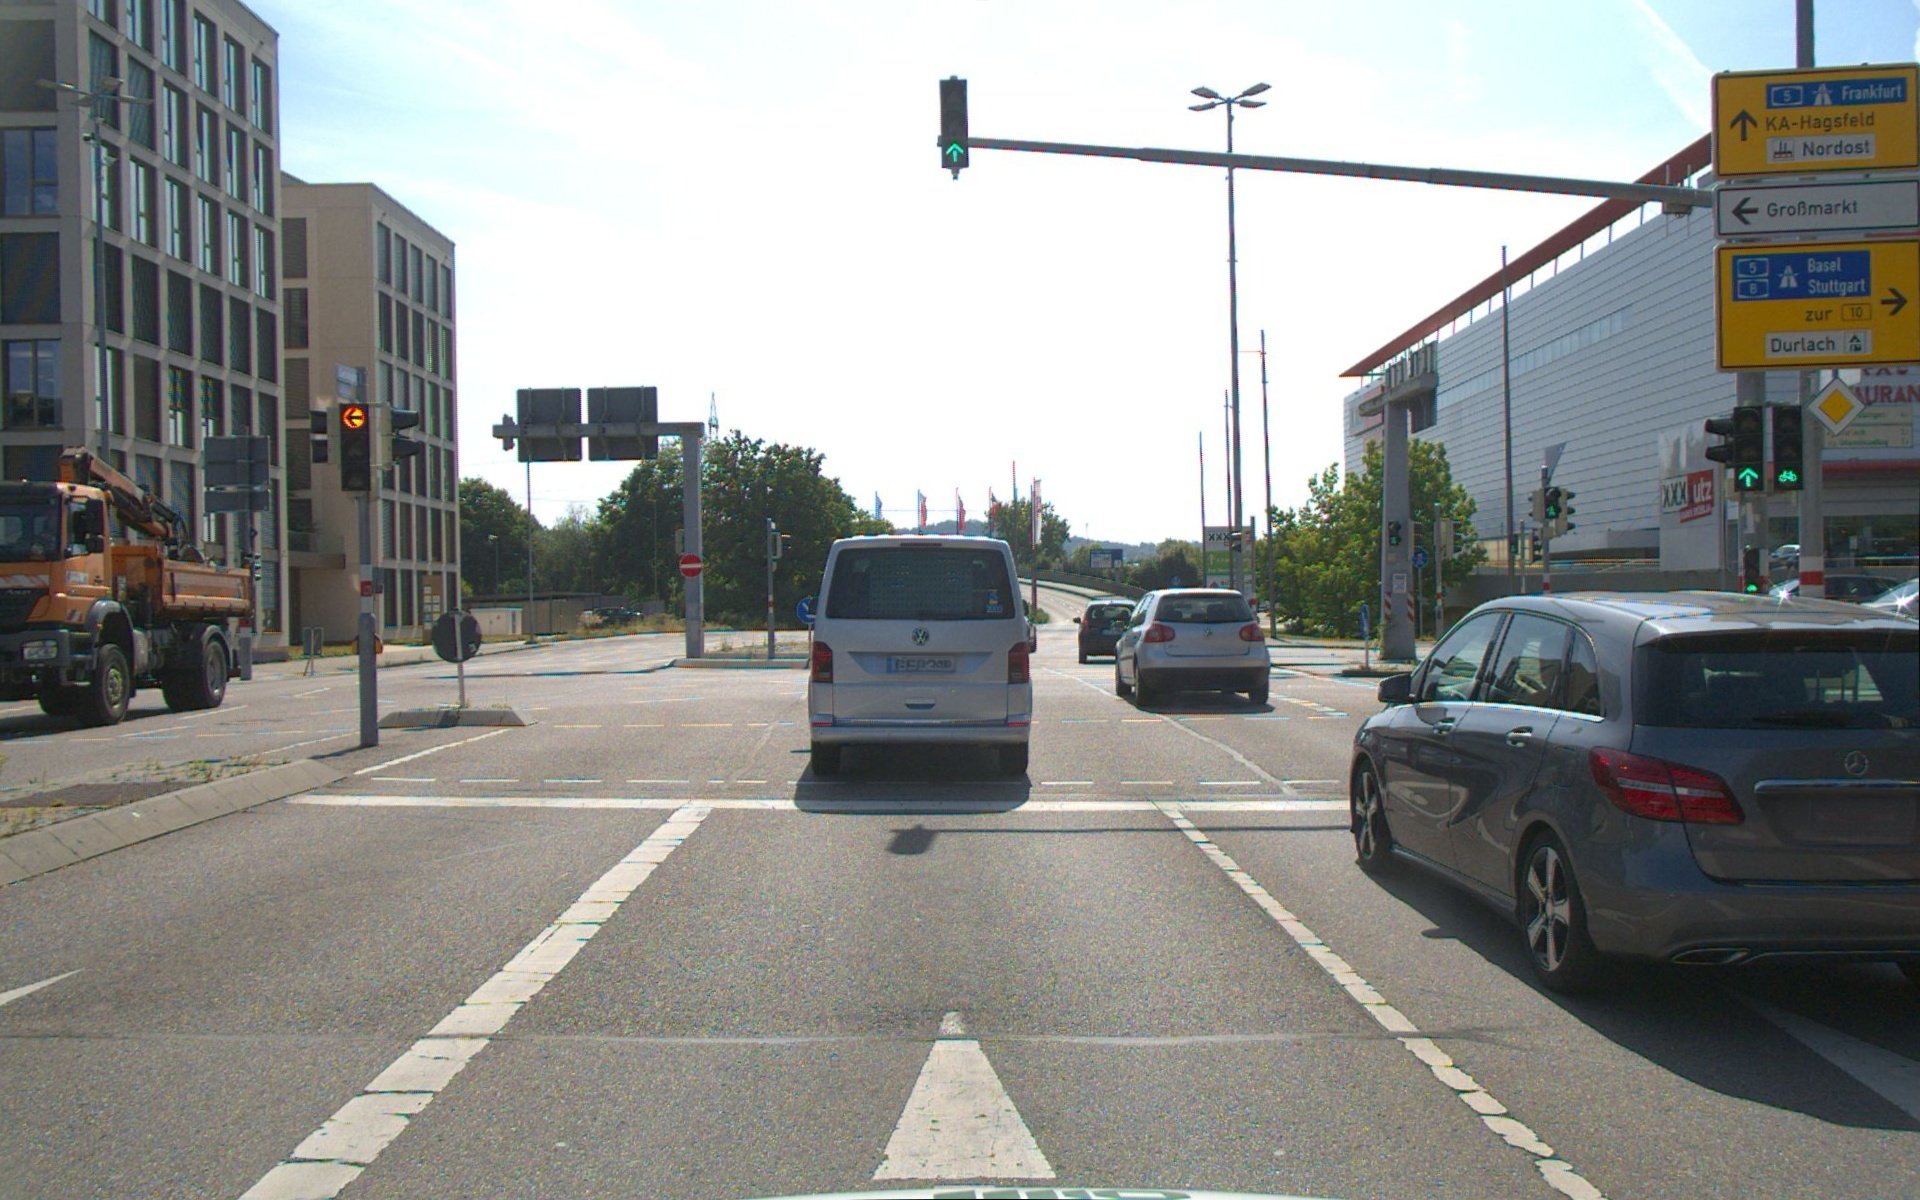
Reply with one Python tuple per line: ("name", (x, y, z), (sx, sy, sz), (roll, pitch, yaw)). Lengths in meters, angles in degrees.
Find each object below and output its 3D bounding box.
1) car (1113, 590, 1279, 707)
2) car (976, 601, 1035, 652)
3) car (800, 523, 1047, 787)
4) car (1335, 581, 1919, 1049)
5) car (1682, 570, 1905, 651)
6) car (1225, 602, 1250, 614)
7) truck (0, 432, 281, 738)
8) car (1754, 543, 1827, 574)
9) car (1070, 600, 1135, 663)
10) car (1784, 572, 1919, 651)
("car", (3.084, 0.597, 22.266), (1.633, 1.439, 3.681), (0, 0, -1))
("car", (1.434, 0.789, 50.908), (1.498, 1.506, 3.249), (0, 0, 7))
("car", (-0.305, 0.423, 14.809), (1.878, 2.010, 4.296), (0, 0, -1))
("car", (3.118, 0.701, 7.645), (1.738, 1.566, 4.136), (0, 0, -2))
("car", (17.612, 0.218, 35.082), (3.803, 1.586, 1.809), (-1, 0, 3))
("car", (34.789, 0.983, 207.322), (1.957, 1.445, 3.991), (1, -1, -9))
("truck", (-12.481, -0.160, 24.115), (2.694, 3.744, 7.568), (-1, 0, -6))
("car", (42.206, -2.105, 84.149), (1.734, 1.444, 4.201), (-1, 0, 2))
("car", (3.574, 0.748, 41.220), (1.498, 1.506, 3.598), (0, 0, 7))
("car", (18.778, 0.193, 32.039), (4.618, 1.450, 1.959), (-2, -1, 2))
